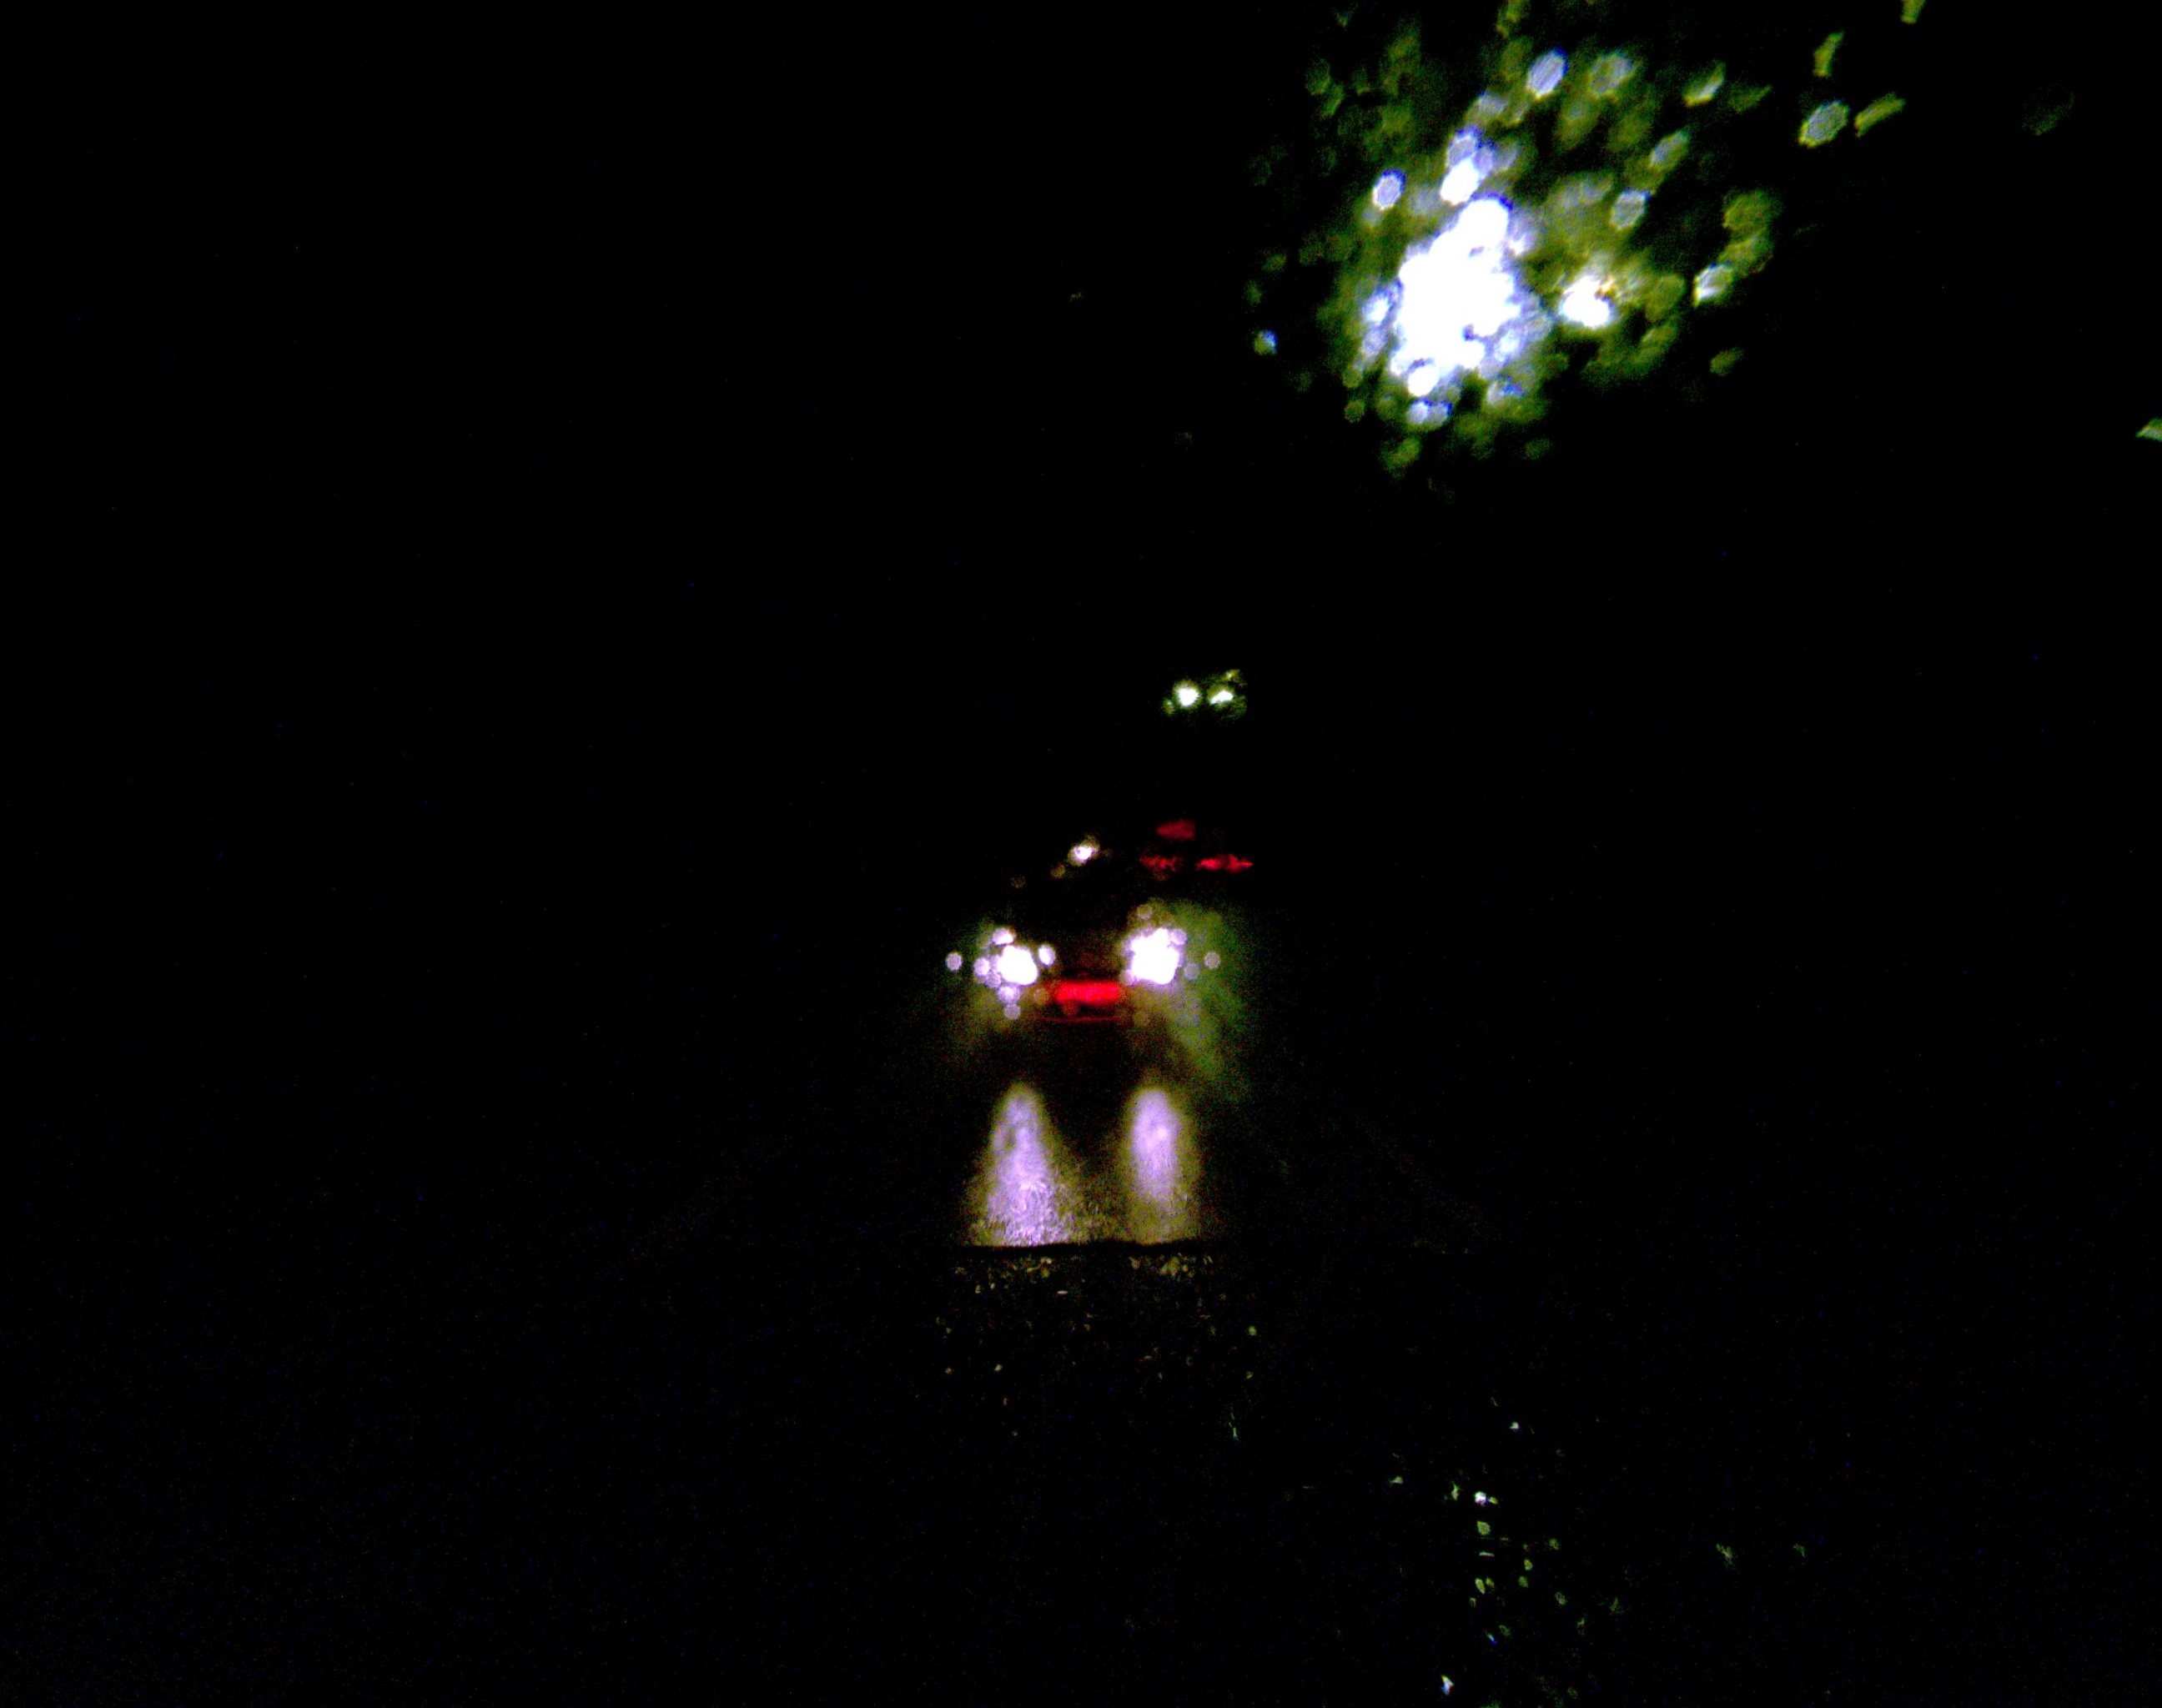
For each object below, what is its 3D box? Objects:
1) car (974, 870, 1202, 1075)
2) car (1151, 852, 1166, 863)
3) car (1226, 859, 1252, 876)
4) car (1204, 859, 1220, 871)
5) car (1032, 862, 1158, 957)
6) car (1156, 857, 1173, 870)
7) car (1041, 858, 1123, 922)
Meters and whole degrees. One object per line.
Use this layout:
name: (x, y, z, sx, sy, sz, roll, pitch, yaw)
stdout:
car: (0.080, 0.985, 8.017, 1.764, 1.492, 4.000, -2, 0, 1)
car: (12.248, 0.470, 119.706, 1.788, 1.637, 3.999, -2, 0, -1)
car: (16.378, 1.346, 79.001, 1.867, 1.637, 4.000, -2, 0, 0)
car: (19.915, 1.637, 115.321, 1.817, 1.637, 4.000, -2, 0, 2)
car: (0.252, 0.918, 14.187, 1.998, 1.455, 4.000, -1, 0, 1)
car: (11.404, 1.337, 104.018, 1.788, 1.637, 4.000, -2, 0, 0)
car: (0.052, 0.895, 20.784, 1.998, 1.531, 4.000, -1, 0, 1)
